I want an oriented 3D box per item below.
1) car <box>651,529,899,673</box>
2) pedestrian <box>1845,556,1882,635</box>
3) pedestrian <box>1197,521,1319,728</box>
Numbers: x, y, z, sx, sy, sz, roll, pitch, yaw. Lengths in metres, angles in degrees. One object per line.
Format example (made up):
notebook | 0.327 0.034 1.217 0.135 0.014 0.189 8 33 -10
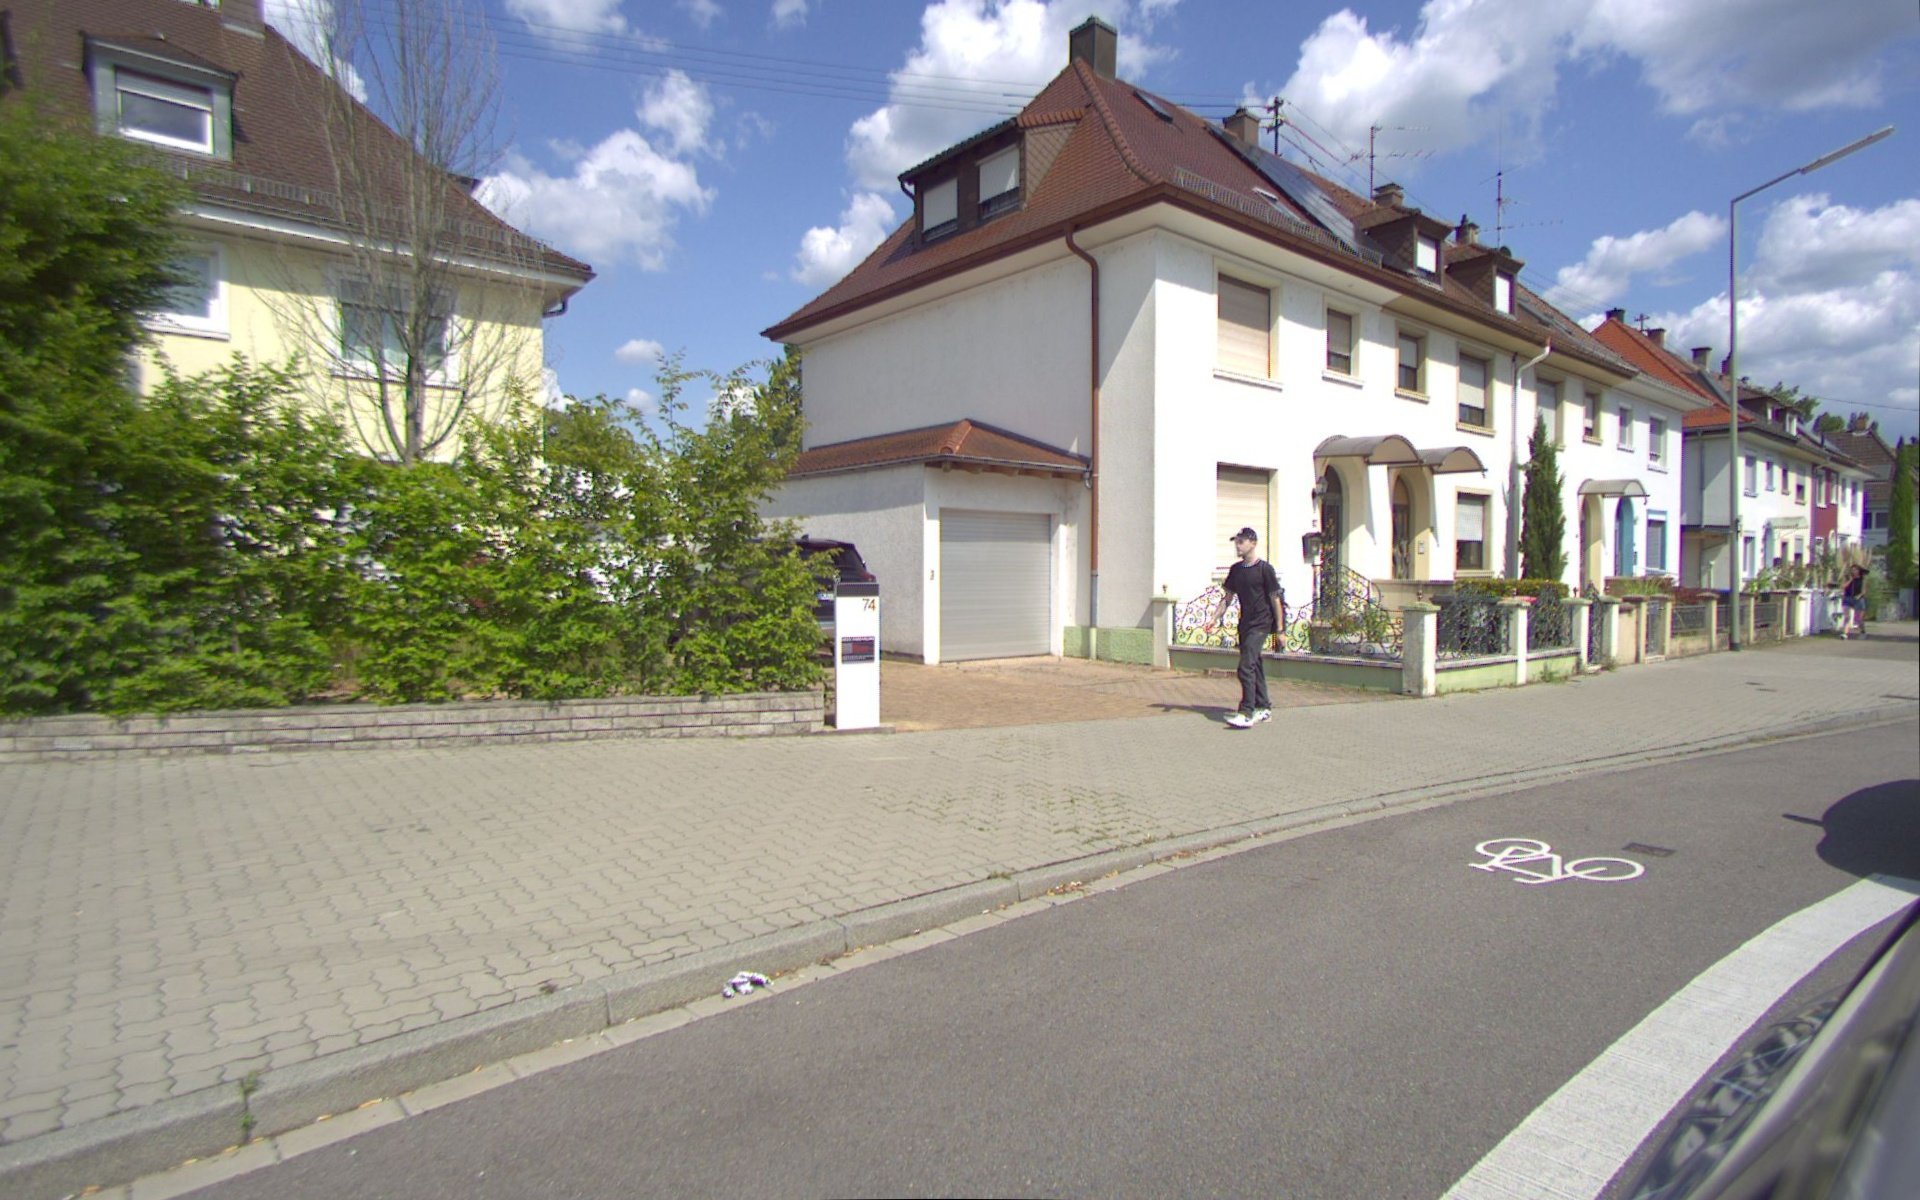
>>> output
car | -2.745 -0.057 14.326 1.834 1.729 3.998 -1 2 -38
pedestrian | 20.362 -0.113 22.804 0.607 1.732 0.519 -1 1 -39
pedestrian | 2.662 0.202 9.108 0.921 1.789 0.592 1 1 6
